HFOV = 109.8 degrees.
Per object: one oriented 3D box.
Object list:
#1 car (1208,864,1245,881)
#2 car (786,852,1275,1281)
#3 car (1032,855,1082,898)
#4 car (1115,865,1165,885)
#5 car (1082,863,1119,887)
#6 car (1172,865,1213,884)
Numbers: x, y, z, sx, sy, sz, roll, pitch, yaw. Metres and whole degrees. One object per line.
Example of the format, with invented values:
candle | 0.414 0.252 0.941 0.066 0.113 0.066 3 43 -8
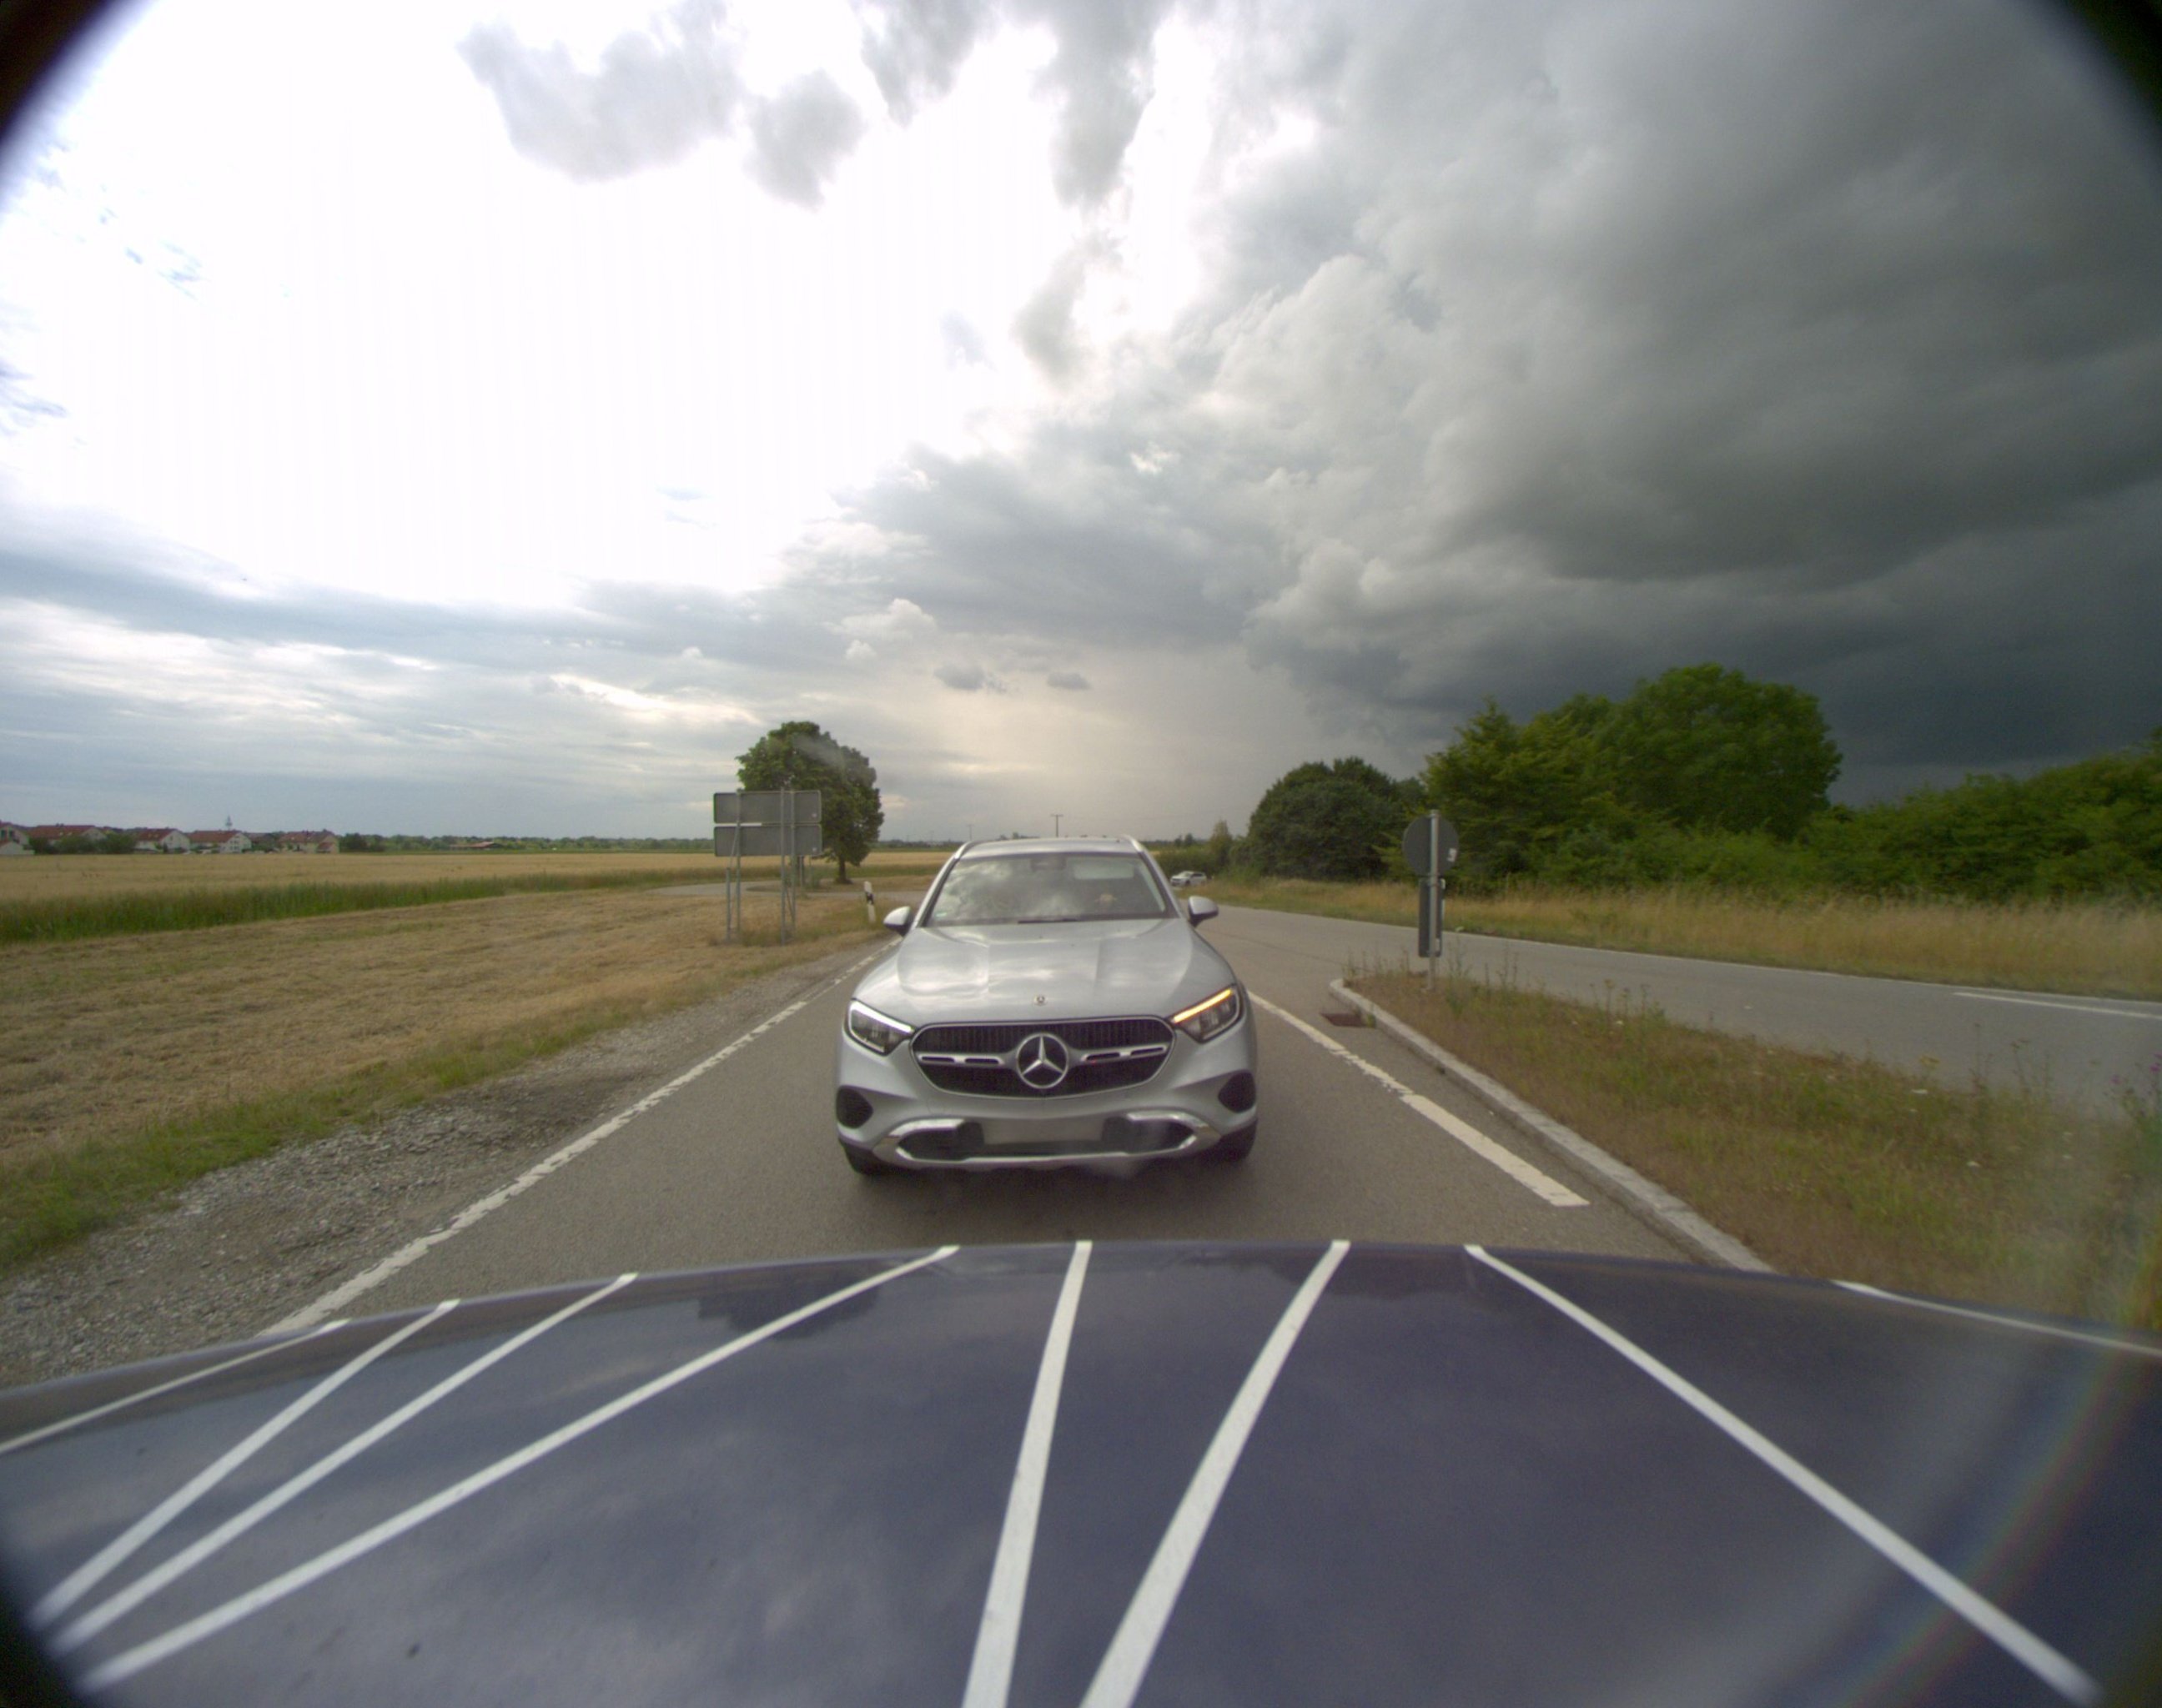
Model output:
car | 16.702 2.059 87.042 1.994 1.710 5.219 3 2 36
car | -0.262 0.791 5.095 1.837 1.577 4.448 0 1 -2
car | -0.969 0.914 33.460 1.998 1.710 5.208 0 1 0
car | 5.587 2.007 71.352 1.994 1.709 5.221 3 0 38
car | 1.641 1.682 61.378 1.996 1.709 5.214 3 0 12
car | 11.658 2.119 79.298 1.994 1.710 5.219 3 2 36
